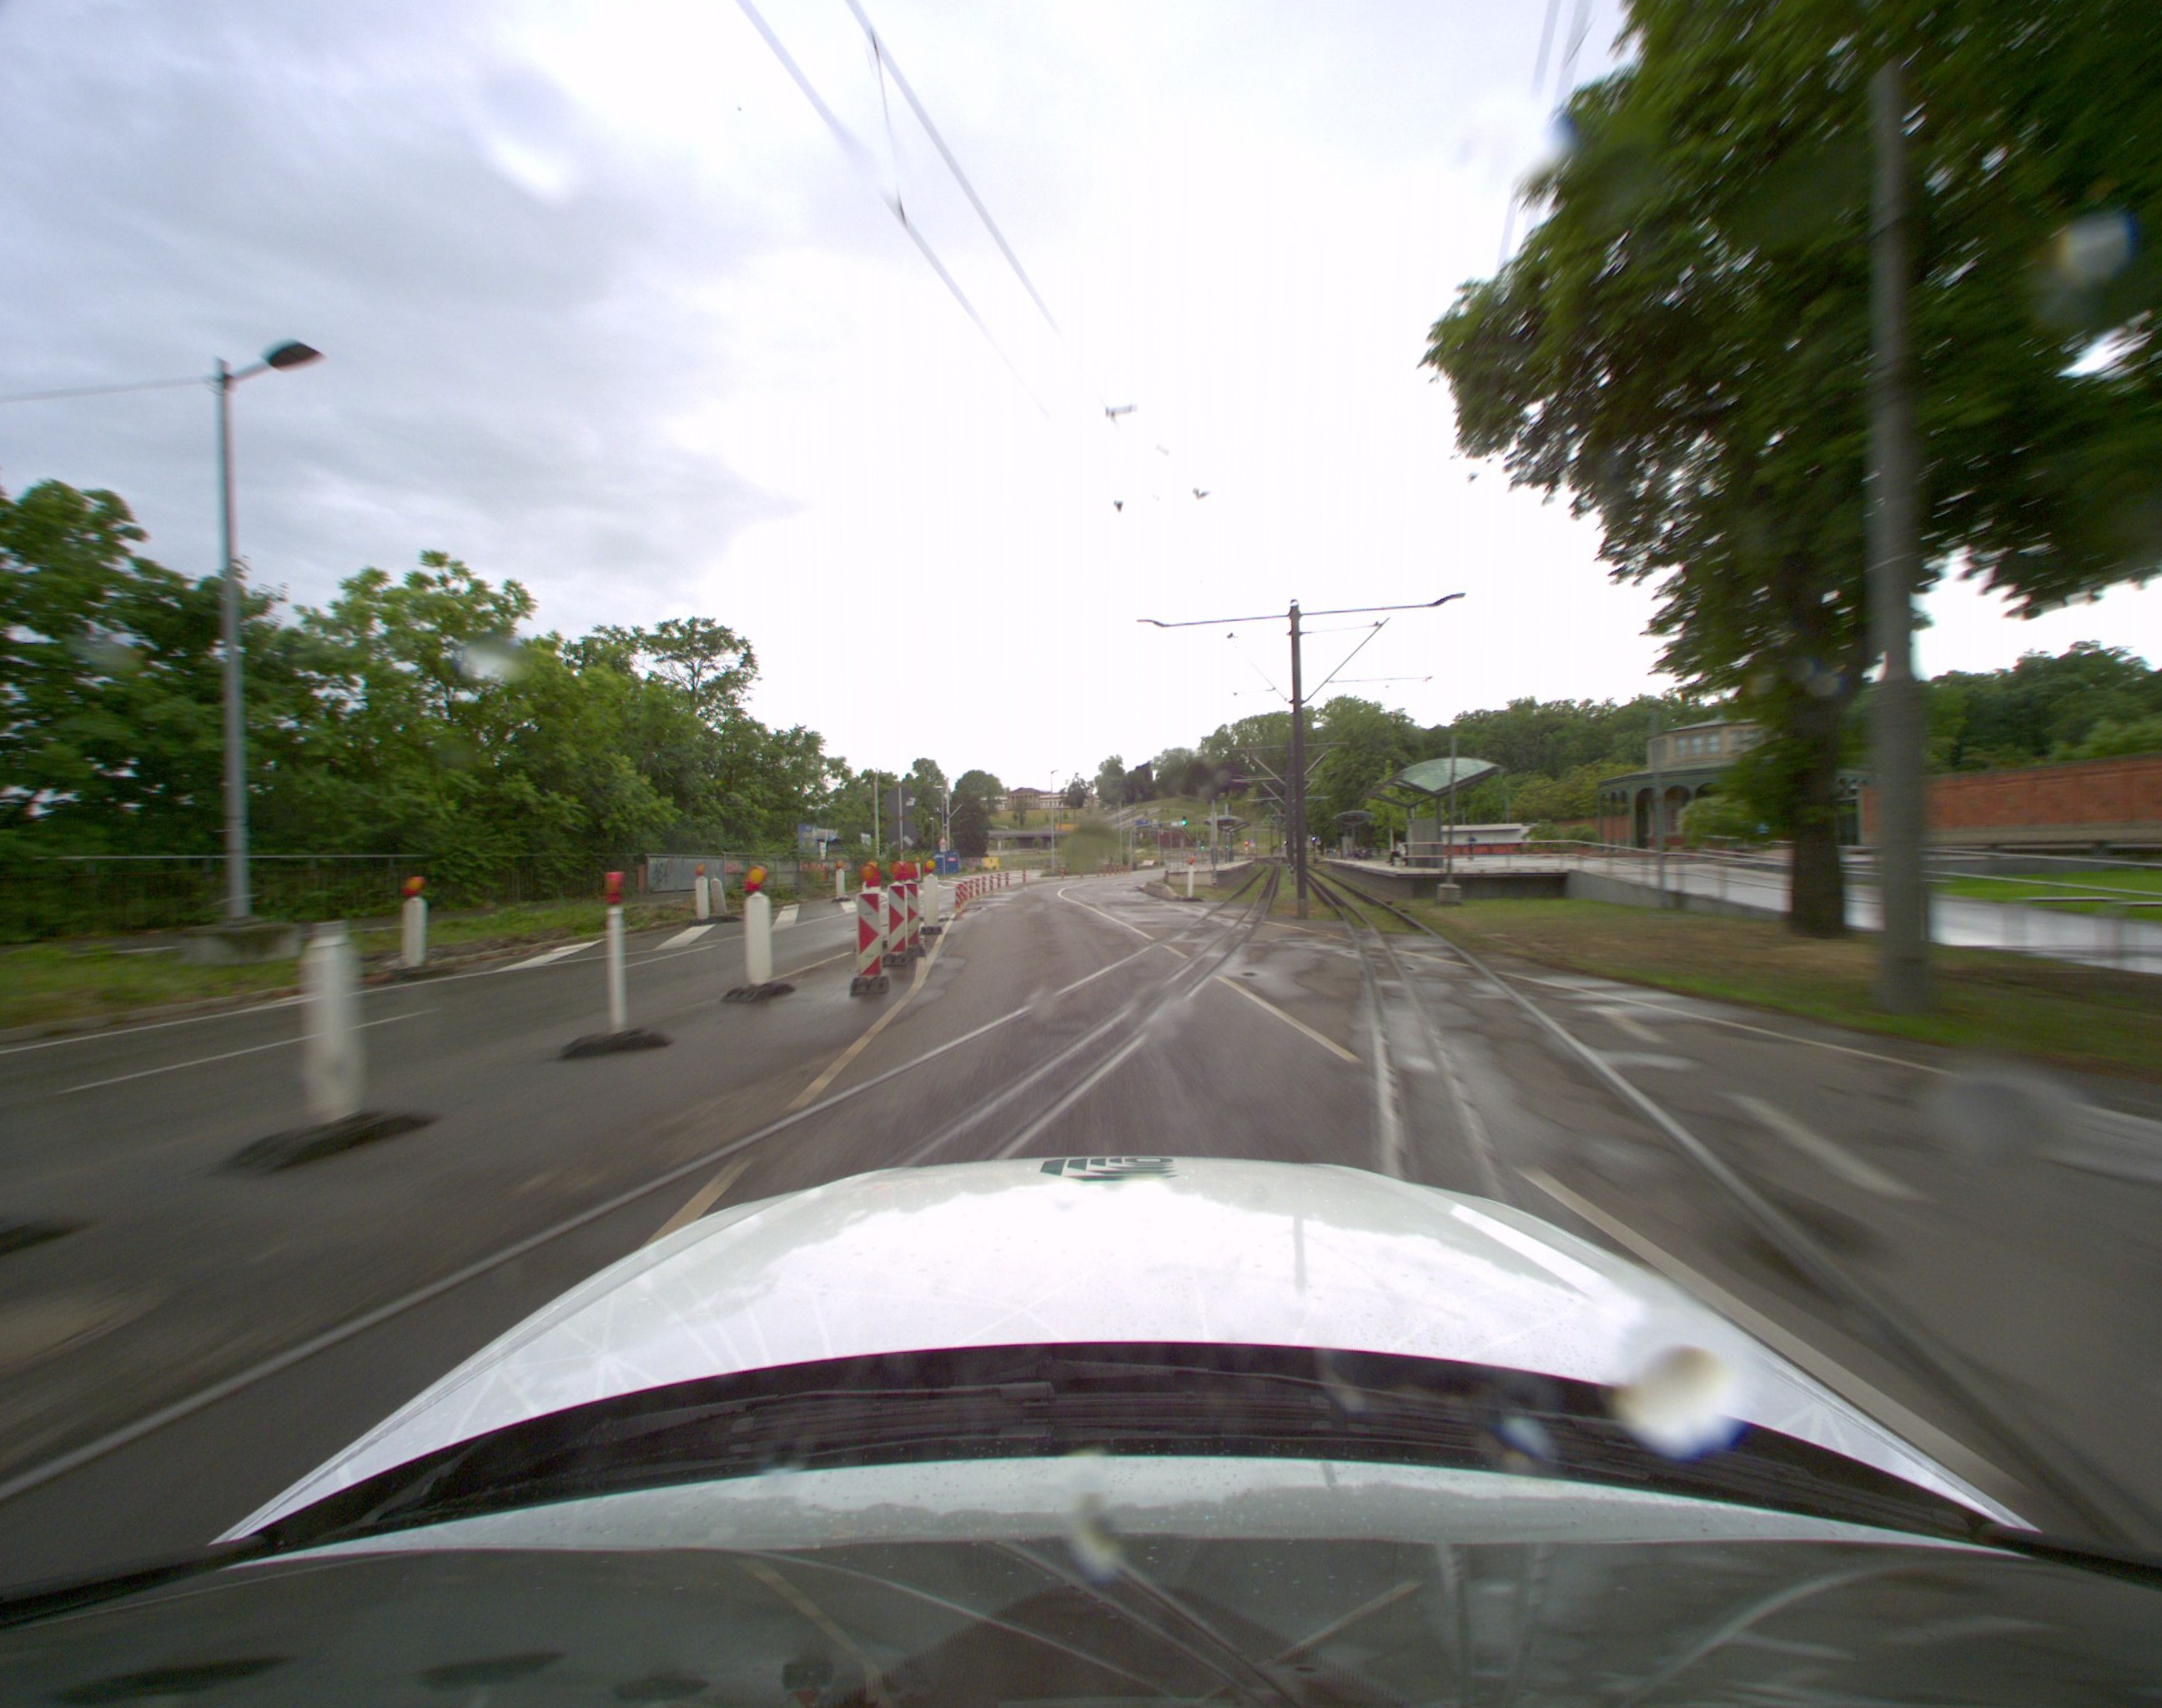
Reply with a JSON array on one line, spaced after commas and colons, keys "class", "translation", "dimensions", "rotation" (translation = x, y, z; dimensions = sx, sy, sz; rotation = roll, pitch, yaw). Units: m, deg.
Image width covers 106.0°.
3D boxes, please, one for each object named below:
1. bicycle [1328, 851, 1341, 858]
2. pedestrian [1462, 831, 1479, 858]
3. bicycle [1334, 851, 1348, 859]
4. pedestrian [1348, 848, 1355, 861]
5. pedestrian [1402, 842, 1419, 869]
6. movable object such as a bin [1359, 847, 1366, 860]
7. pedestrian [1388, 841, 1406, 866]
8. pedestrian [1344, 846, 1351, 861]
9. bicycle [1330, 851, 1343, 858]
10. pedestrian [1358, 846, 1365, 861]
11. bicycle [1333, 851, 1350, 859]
[{"class": "bicycle", "translation": [39.167, 0.034, 125.769], "dimensions": [1.798, 1.032, 0.655], "rotation": [-2, 0, 11]}, {"class": "pedestrian", "translation": [26.141, -0.645, 54.713], "dimensions": [0.715, 1.790, 1.187], "rotation": [-3, 0, 14]}, {"class": "bicycle", "translation": [37.625, 0.161, 117.971], "dimensions": [1.798, 1.032, 0.655], "rotation": [-2, 0, 11]}, {"class": "pedestrian", "translation": [21.757, 0.050, 65.568], "dimensions": [0.434, 1.009, 0.553], "rotation": [-2, -1, 14]}, {"class": "pedestrian", "translation": [15.258, 0.067, 37.740], "dimensions": [0.515, 1.213, 0.784], "rotation": [3, -1, 10]}, {"class": "movable object such as a bin", "translation": [22.486, -0.027, 65.149], "dimensions": [0.434, 1.009, 0.684], "rotation": [-2, -1, 14]}, {"class": "pedestrian", "translation": [14.477, -0.007, 37.336], "dimensions": [0.598, 1.119, 0.520], "rotation": [3, -1, -2]}, {"class": "pedestrian", "translation": [21.679, -0.059, 66.288], "dimensions": [0.434, 1.226, 0.553], "rotation": [-2, -1, 14]}, {"class": "bicycle", "translation": [38.955, 0.055, 124.361], "dimensions": [1.798, 1.032, 0.655], "rotation": [-2, 0, 11]}, {"class": "pedestrian", "translation": [22.788, -0.060, 66.161], "dimensions": [0.434, 1.226, 0.553], "rotation": [-2, -1, 14]}, {"class": "bicycle", "translation": [37.414, 0.106, 117.106], "dimensions": [2.208, 1.032, 0.691], "rotation": [-2, 0, 11]}]
